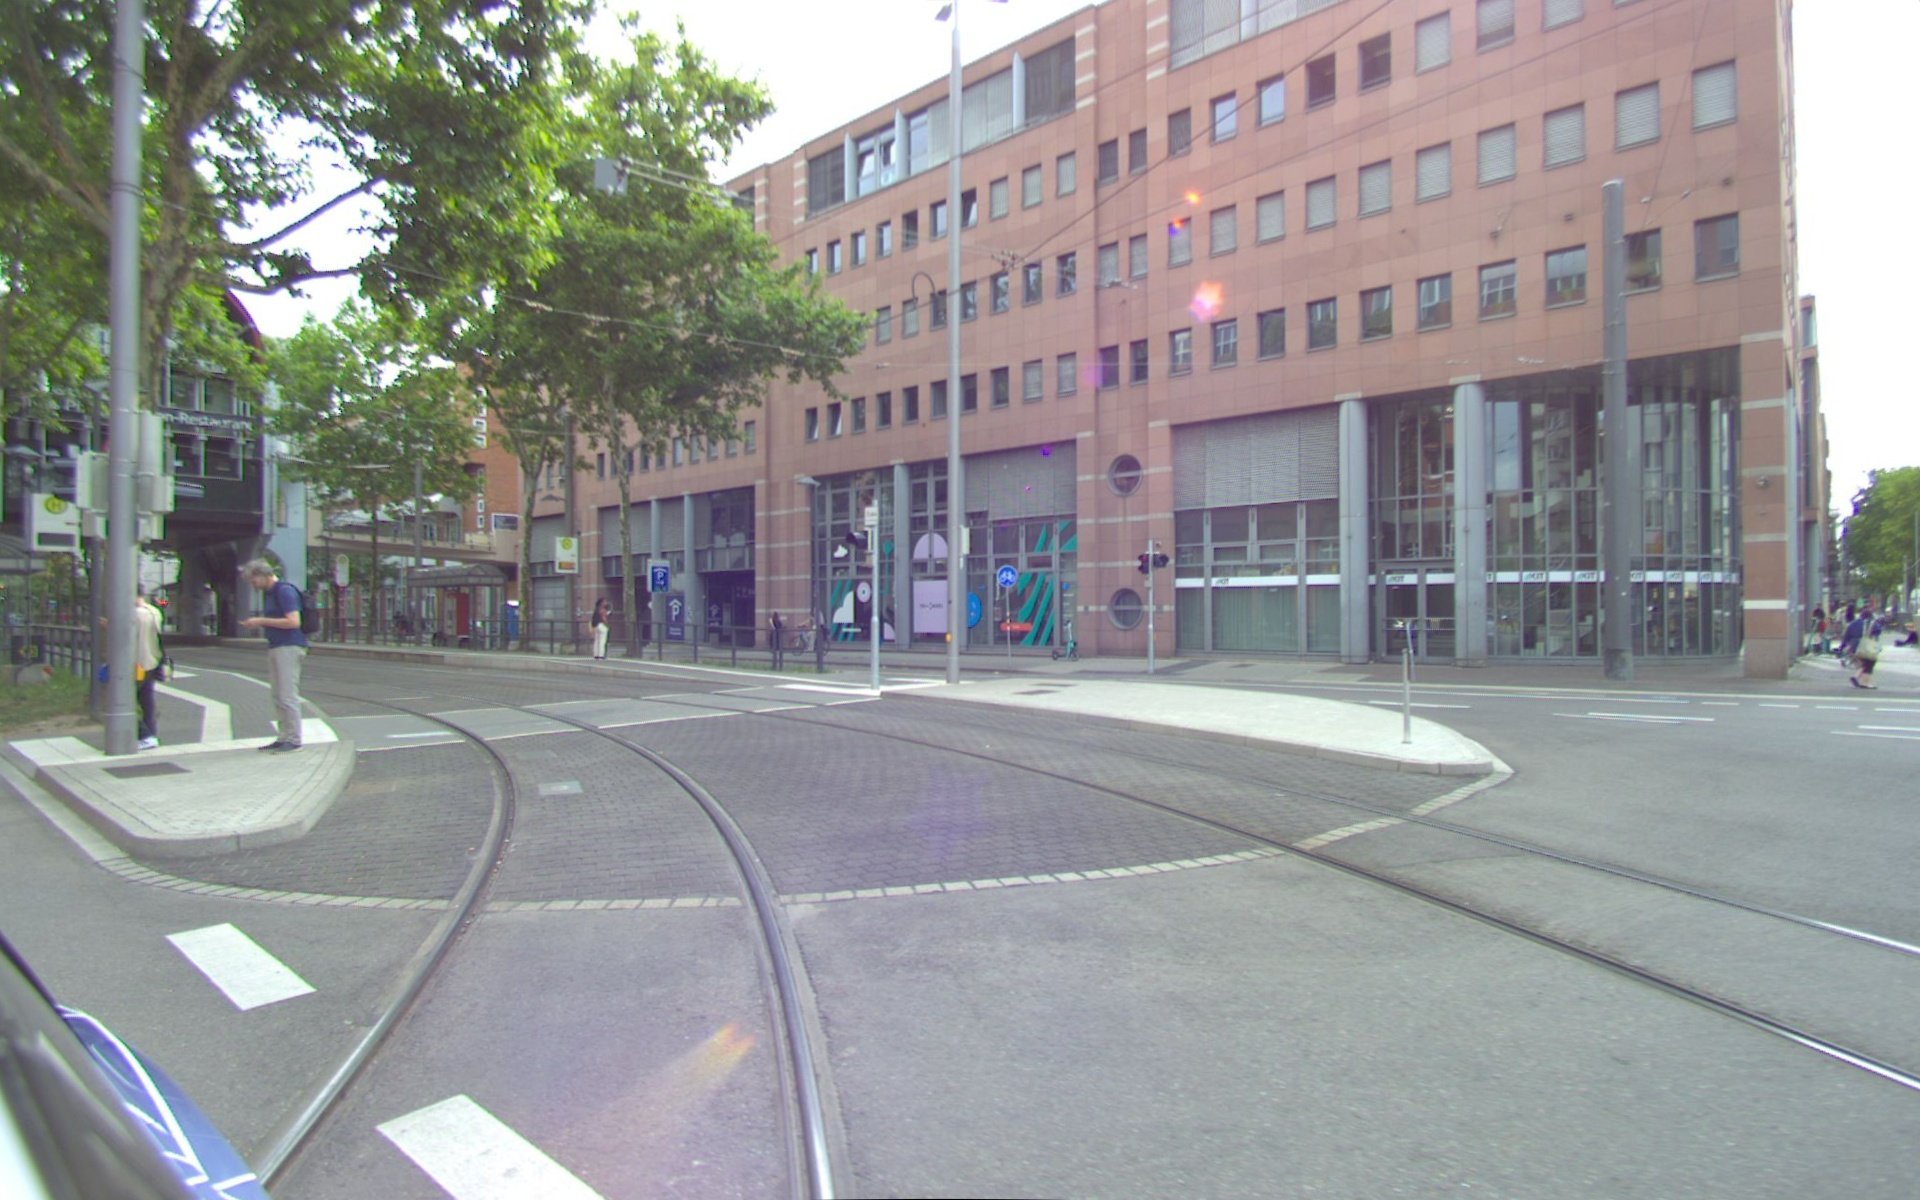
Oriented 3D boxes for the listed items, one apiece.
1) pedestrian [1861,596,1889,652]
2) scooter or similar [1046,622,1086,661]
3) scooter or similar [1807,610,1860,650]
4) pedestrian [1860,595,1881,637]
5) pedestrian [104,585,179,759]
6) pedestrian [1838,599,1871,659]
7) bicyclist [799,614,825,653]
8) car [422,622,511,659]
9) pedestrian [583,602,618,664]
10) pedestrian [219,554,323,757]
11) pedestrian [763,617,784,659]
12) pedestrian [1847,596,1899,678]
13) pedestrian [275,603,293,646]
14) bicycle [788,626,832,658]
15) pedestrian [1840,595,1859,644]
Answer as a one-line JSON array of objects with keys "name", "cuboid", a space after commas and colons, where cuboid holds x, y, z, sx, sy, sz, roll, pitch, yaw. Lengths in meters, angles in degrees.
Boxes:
[{"name": "pedestrian", "cuboid": [27.779, 0.726, 30.725, 0.581, 1.676, 0.513, -2, -1, 42]}, {"name": "scooter or similar", "cuboid": [3.196, 1.237, 30.650, 1.112, 1.142, 0.513, -1, -1, 42]}, {"name": "scooter or similar", "cuboid": [26.554, 0.890, 30.770, 0.377, 1.178, 1.295, 0, -1, -6]}, {"name": "pedestrian", "cuboid": [36.494, 0.647, 40.573, 0.581, 1.676, 0.513, -2, -1, 42]}, {"name": "pedestrian", "cuboid": [-8.817, 0.750, 10.913, 0.526, 1.805, 0.579, 0, -1, -28]}, {"name": "pedestrian", "cuboid": [22.438, 0.727, 25.385, 0.581, 1.484, 0.646, -1, -1, 42]}, {"name": "bicyclist", "cuboid": [-5.382, 1.201, 36.773, 0.735, 1.391, 0.546, -1, -1, 30]}, {"name": "car", "cuboid": [-20.962, 1.690, 42.938, 4.293, 1.484, 1.844, -1, -1, 41]}, {"name": "pedestrian", "cuboid": [-9.162, 0.823, 25.802, 0.558, 1.549, 0.650, 1, 1, 37]}, {"name": "pedestrian", "cuboid": [-6.792, 0.524, 9.980, 0.807, 1.889, 0.684, -2, -1, 42]}, {"name": "pedestrian", "cuboid": [-7.213, 1.467, 39.142, 0.601, 1.585, 0.522, -1, -1, 42]}, {"name": "pedestrian", "cuboid": [16.963, 0.669, 18.814, 0.684, 1.484, 0.788, -1, -1, 42]}, {"name": "pedestrian", "cuboid": [-28.551, 1.017, 42.729, 0.480, 1.784, 0.476, -1, -1, 34]}, {"name": "bicycle", "cuboid": [-5.458, 1.524, 36.810, 1.583, 1.126, 0.542, -1, -1, 30]}, {"name": "pedestrian", "cuboid": [30.833, 0.664, 35.087, 0.464, 1.676, 0.513, -2, -1, 42]}]
